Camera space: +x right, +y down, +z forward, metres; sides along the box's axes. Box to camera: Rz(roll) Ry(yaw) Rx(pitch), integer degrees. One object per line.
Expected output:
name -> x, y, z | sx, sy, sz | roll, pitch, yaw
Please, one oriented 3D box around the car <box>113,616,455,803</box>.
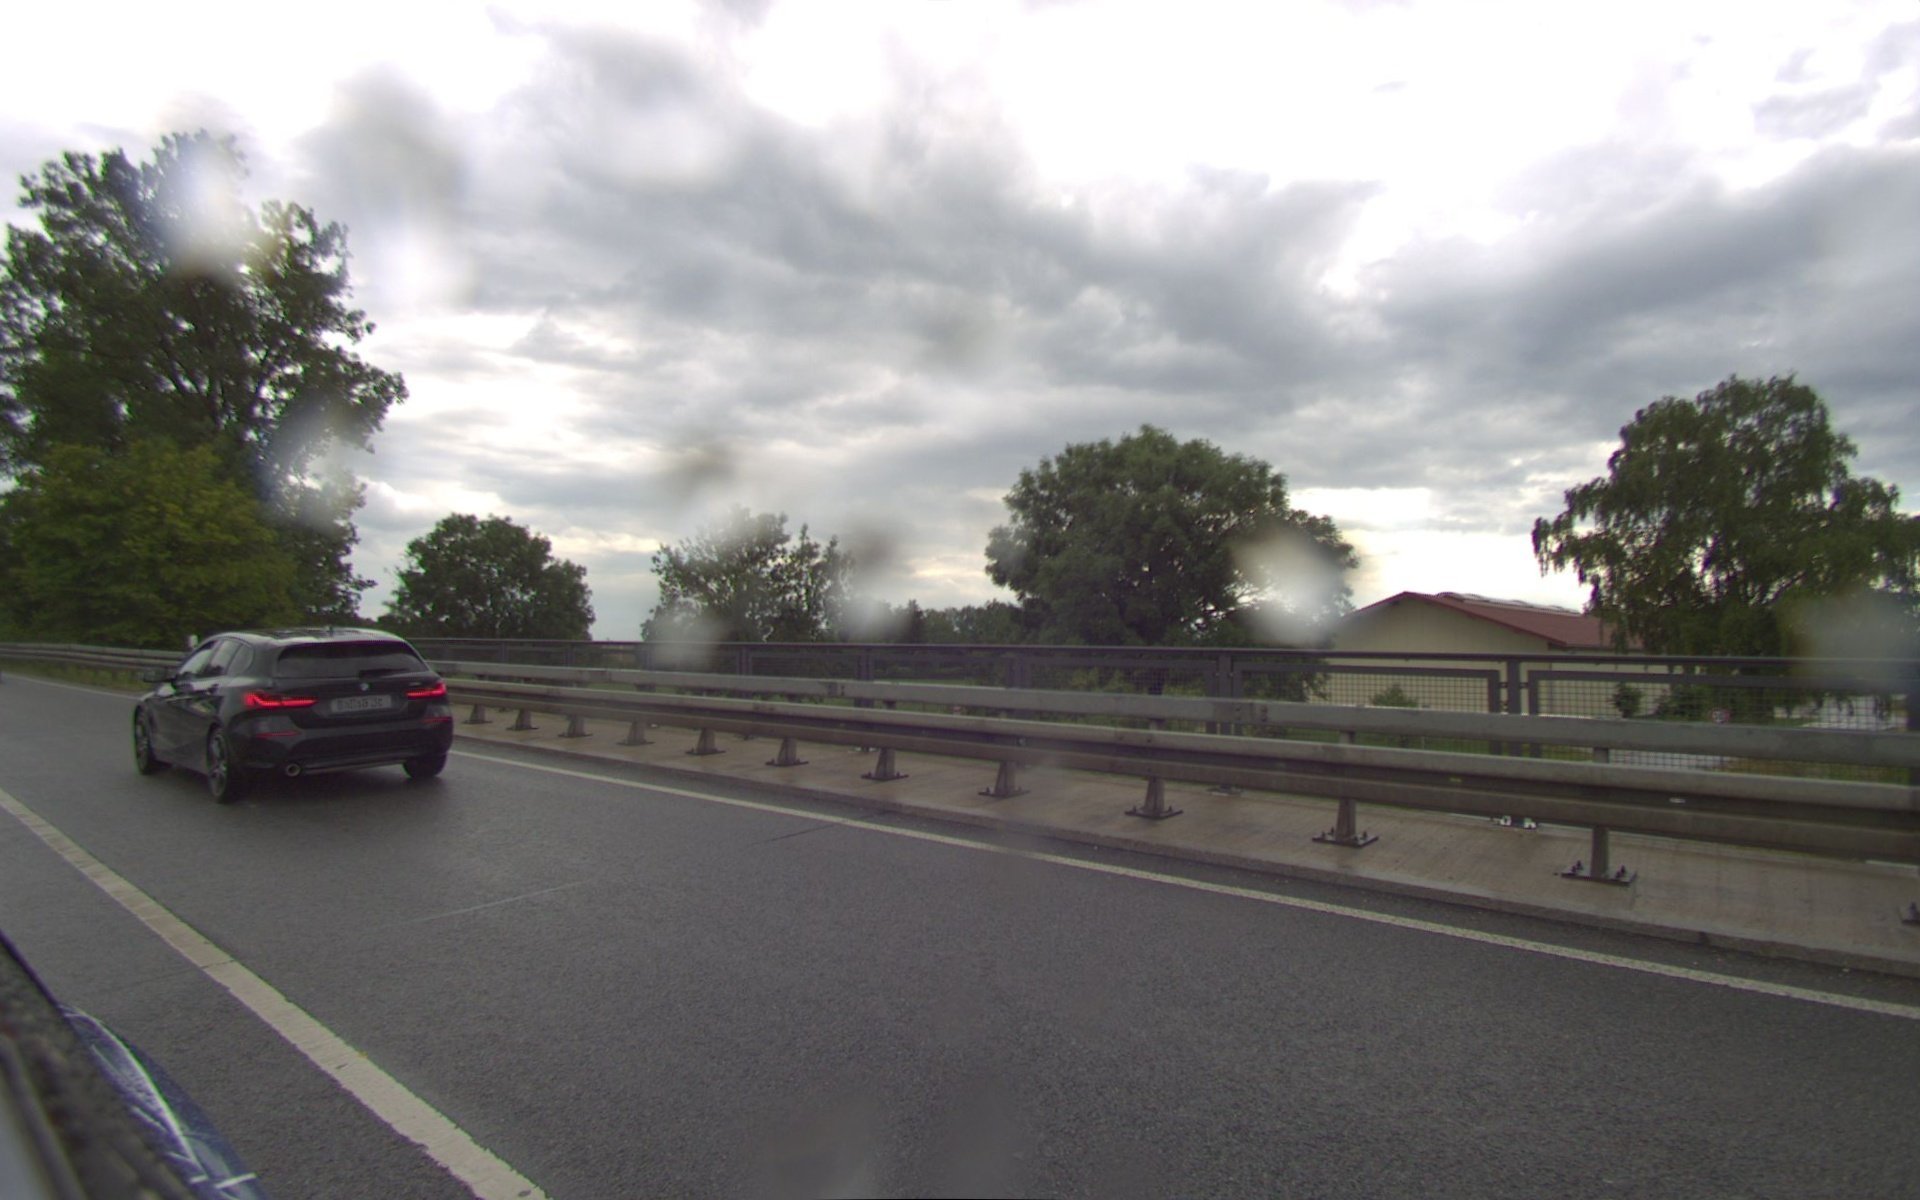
car -> -6.649, 0.864, 9.760 | 4.329, 1.410, 1.679 | -1, -1, 41
